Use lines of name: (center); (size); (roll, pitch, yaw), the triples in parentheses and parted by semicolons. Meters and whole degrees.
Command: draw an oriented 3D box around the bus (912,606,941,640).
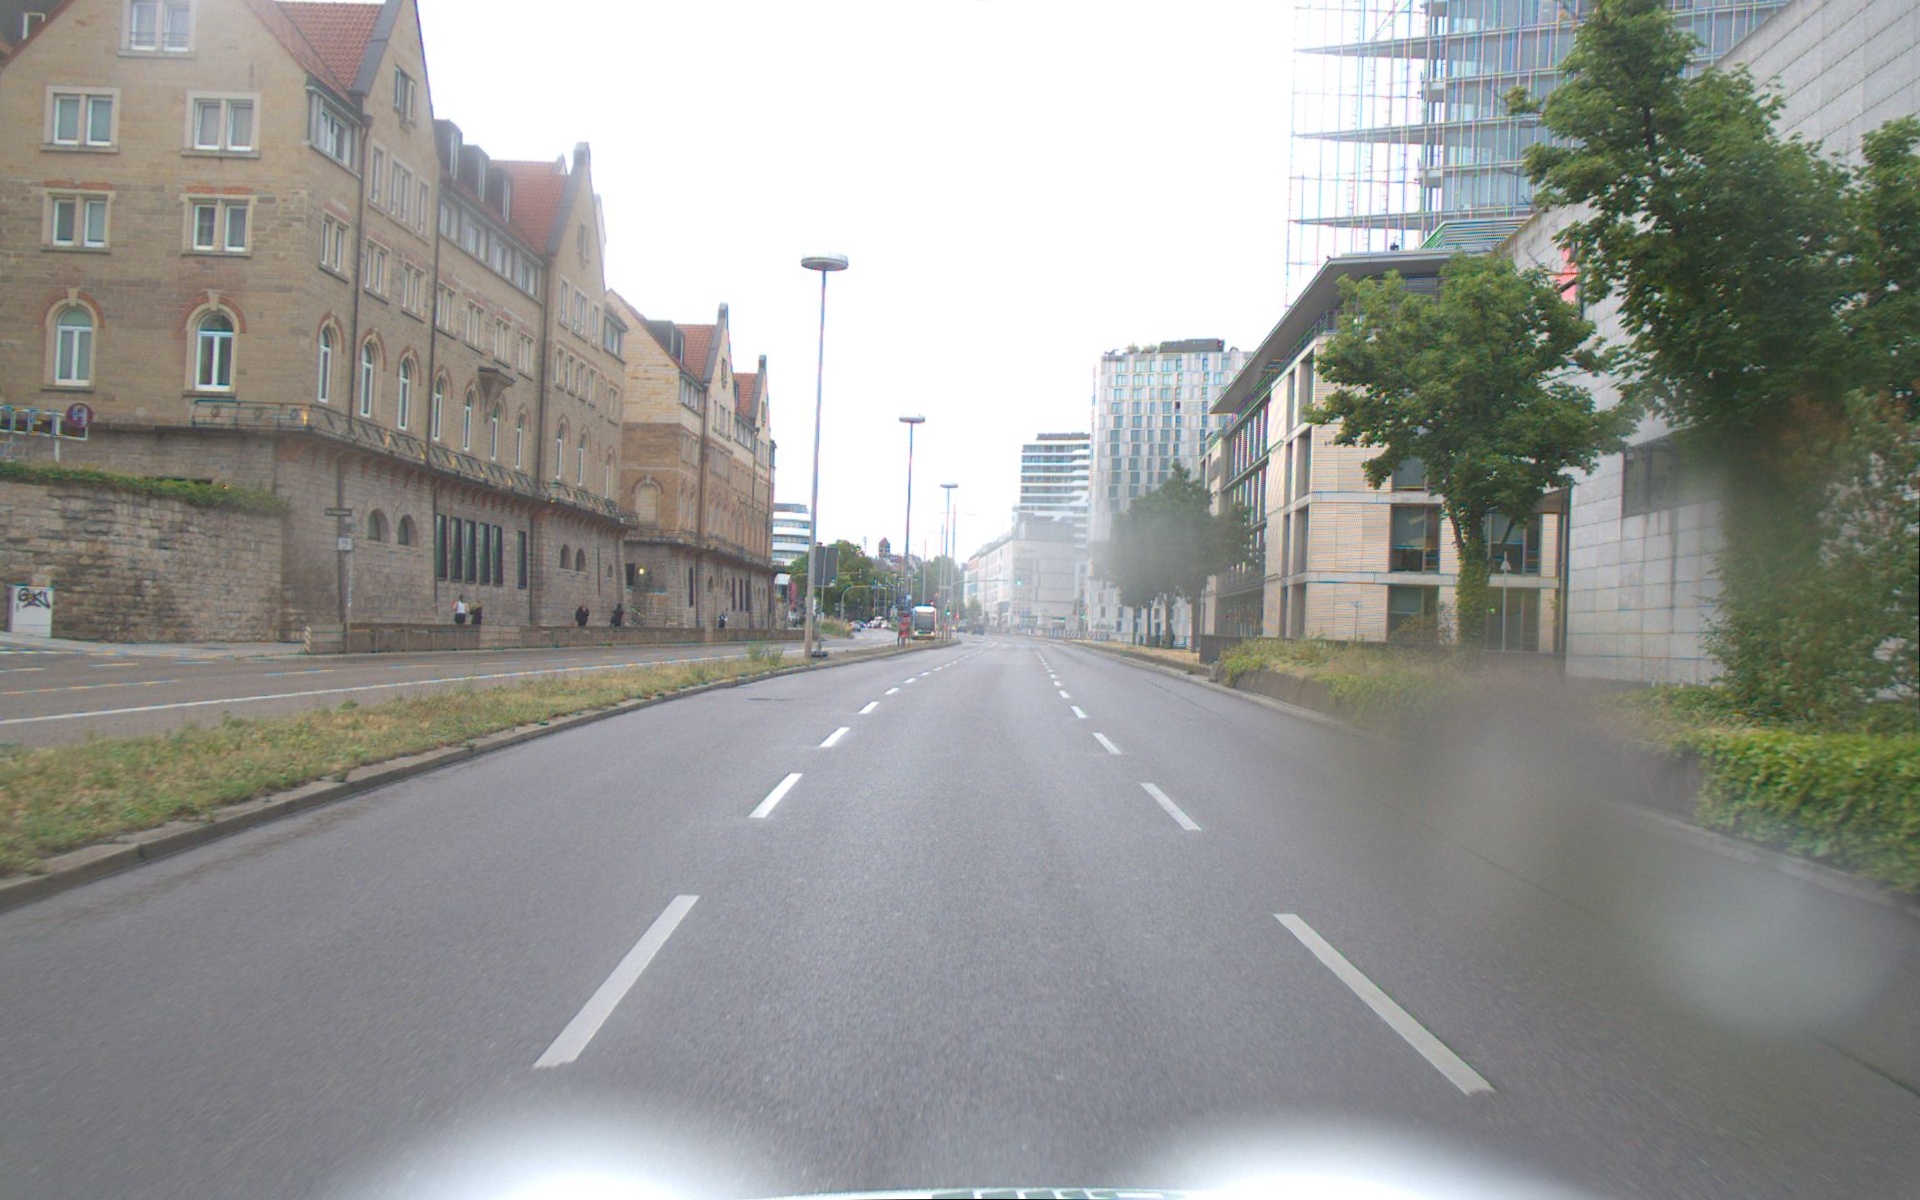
bus: (-3.585, 2.530, 178.704); (2.642, 3.622, 10.094); (1, -1, 2)

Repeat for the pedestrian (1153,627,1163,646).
pedestrian: (16.722, 3.102, 139.695); (0.540, 1.605, 0.668); (1, 0, 36)

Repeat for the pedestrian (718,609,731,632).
pedestrian: (-15.566, 1.338, 109.280); (0.738, 1.503, 0.714); (1, 0, 1)

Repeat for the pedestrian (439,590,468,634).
pedestrian: (-17.587, 0.407, 57.415); (0.738, 1.503, 0.714); (1, 0, 1)

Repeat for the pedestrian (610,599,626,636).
pedestrian: (-16.257, 0.823, 78.633); (0.627, 1.776, 0.621); (1, 0, 0)

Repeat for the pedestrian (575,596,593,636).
pedestrian: (-17.020, 0.731, 74.886); (0.627, 1.776, 0.621); (1, 0, 0)

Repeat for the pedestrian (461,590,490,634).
pedestrian: (-16.819, 0.422, 57.414); (0.738, 1.503, 0.714); (1, 0, 1)
